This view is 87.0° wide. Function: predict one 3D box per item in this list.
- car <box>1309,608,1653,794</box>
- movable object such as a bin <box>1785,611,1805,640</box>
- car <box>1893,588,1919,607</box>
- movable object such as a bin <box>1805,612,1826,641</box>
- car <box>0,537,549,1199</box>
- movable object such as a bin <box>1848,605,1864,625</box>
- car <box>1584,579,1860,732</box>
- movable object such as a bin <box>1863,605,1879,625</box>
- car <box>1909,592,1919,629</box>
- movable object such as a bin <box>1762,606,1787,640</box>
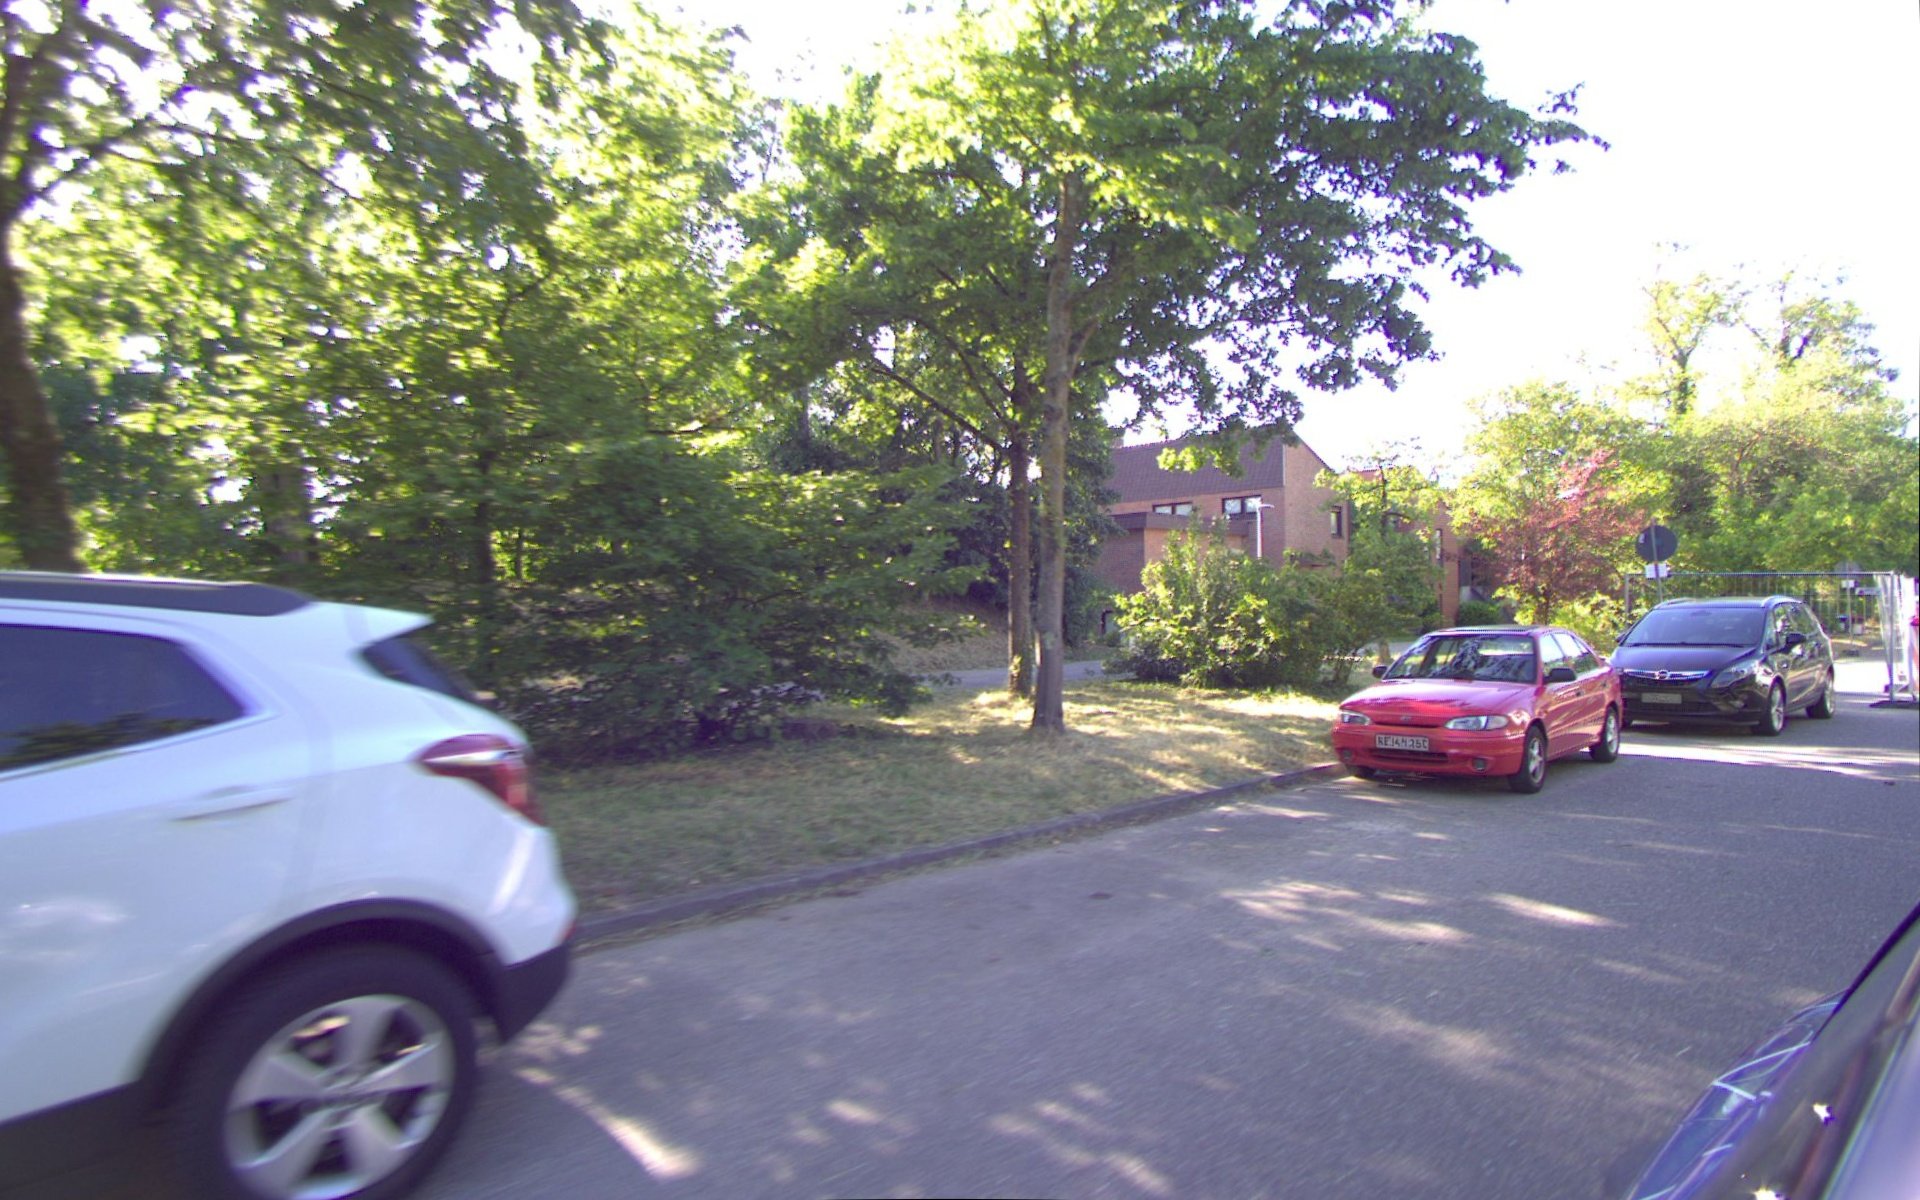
[{"bbox_3d":[5.181,0.820,9.808,4.085,1.393,1.662,0,-2,-43],"label":"car"},{"bbox_3d":[25.961,0.798,31.465,0.476,0.881,0.413,0,1,-42],"label":"movable object such as a bin"},{"bbox_3d":[104.197,-0.240,109.095,1.967,2.030,5.259,0,0,-44],"label":"car"},{"bbox_3d":[26.304,0.806,31.113,0.476,0.881,0.413,0,1,-42],"label":"movable object such as a bin"},{"bbox_3d":[-3.202,0.730,2.084,3.998,1.642,1.776,0,-2,-44],"label":"car"},{"bbox_3d":[39.272,0.654,44.374,0.483,0.872,0.550,-2,-2,44],"label":"movable object such as a bin"},{"bbox_3d":[9.999,0.630,13.167,4.341,1.672,1.813,-1,-2,-39],"label":"car"},{"bbox_3d":[39.620,0.666,44.029,0.483,0.872,0.550,-2,-2,44],"label":"movable object such as a bin"},{"bbox_3d":[44.420,0.461,45.939,4.069,1.642,1.679,0,-2,-44],"label":"car"},{"bbox_3d":[25.725,0.721,31.953,0.598,1.012,0.519,0,1,-42],"label":"movable object such as a bin"}]
